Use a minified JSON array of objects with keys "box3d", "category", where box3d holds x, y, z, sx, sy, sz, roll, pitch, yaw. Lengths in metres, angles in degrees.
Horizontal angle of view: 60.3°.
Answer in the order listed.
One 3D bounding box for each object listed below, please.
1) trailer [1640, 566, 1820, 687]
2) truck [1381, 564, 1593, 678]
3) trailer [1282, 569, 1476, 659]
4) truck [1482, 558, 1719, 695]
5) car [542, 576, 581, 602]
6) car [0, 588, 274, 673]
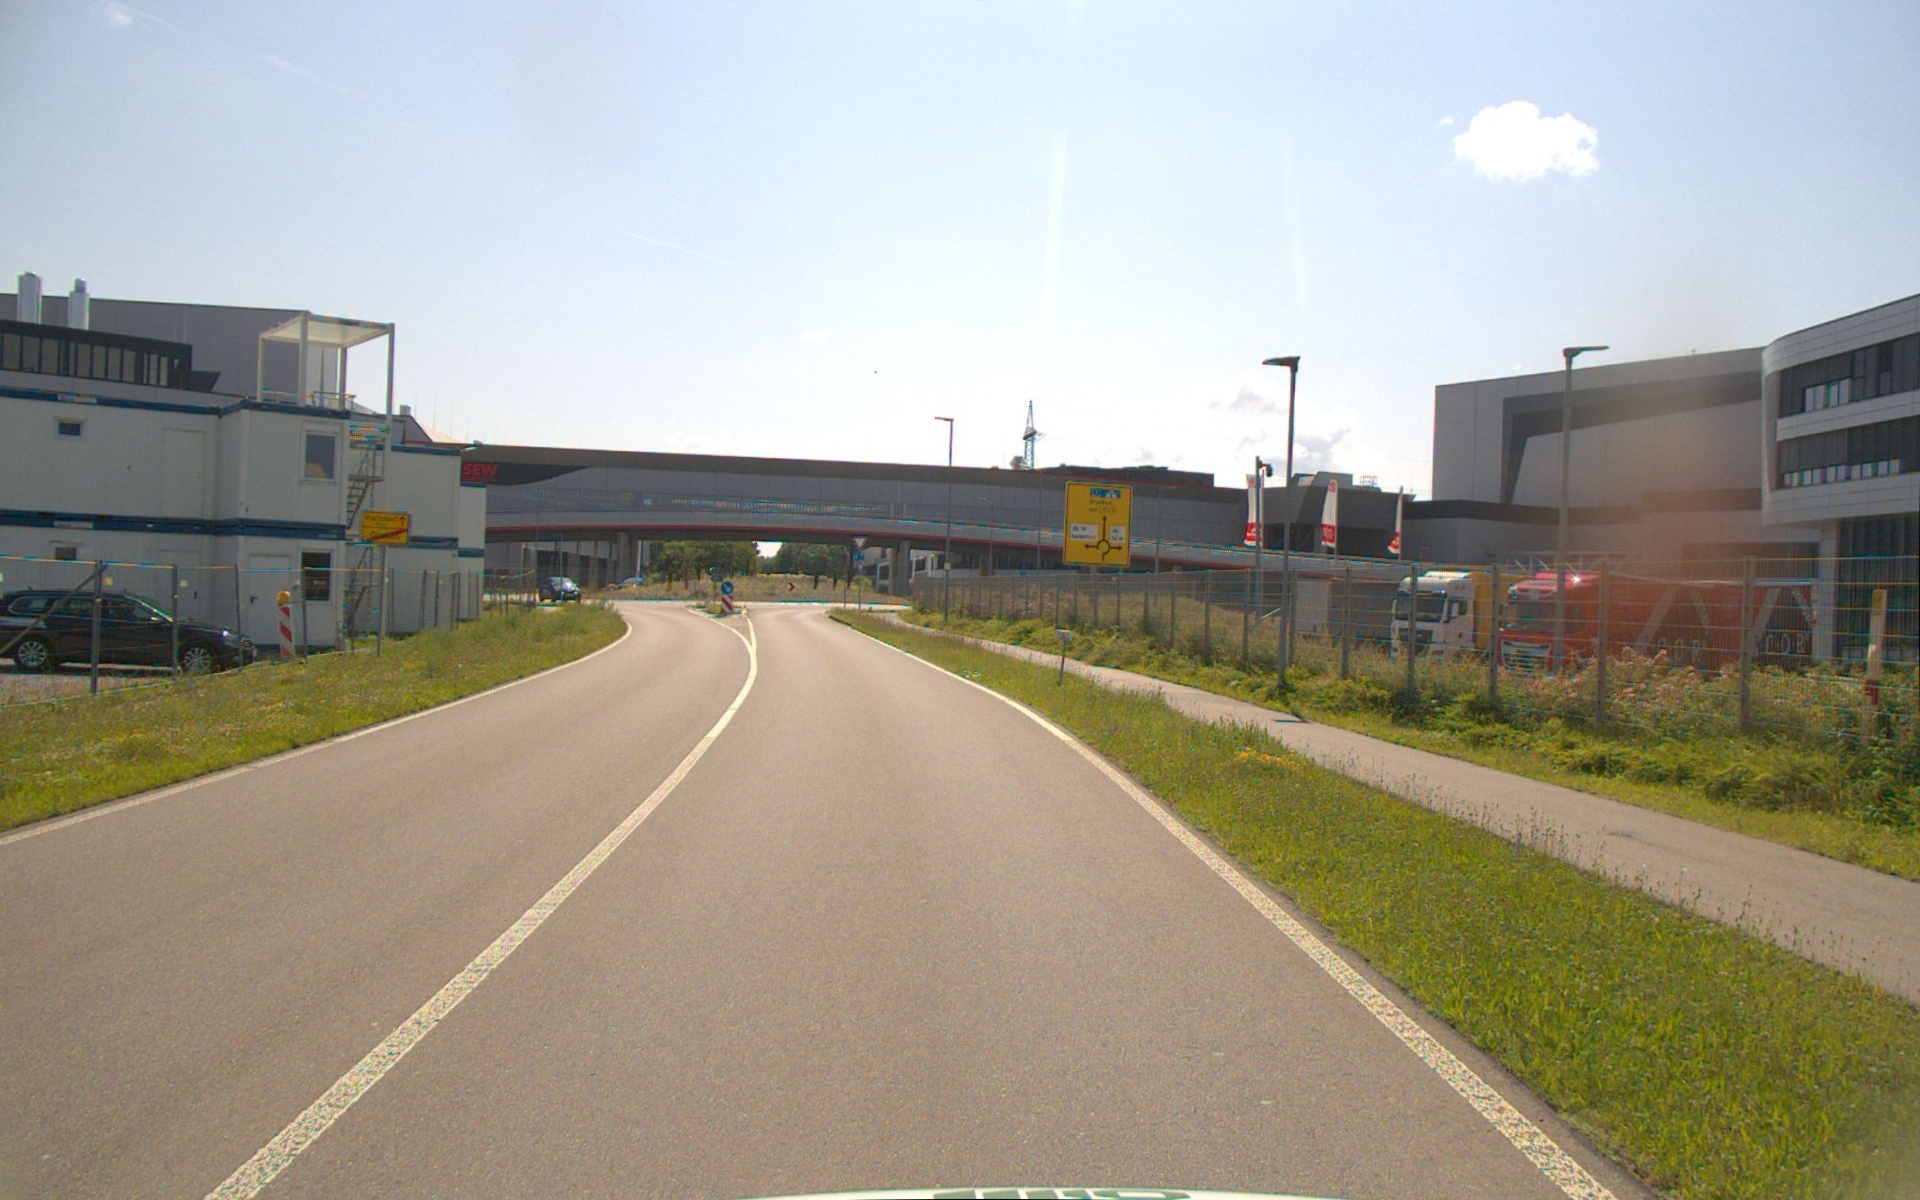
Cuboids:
[{"box3d":[29.737,0.975,63.691,8.634,4.371,2.985,1,0,-40],"category":"trailer"},{"box3d":[21.311,0.829,66.421,10.871,4.245,2.782,1,0,-40],"category":"truck"},{"box3d":[22.758,0.756,89.041,13.937,4.515,2.725,1,0,-41],"category":"trailer"},{"box3d":[22.379,0.878,57.337,10.874,4.331,2.984,1,0,-41],"category":"truck"},{"box3d":[-23.769,-0.628,98.625,1.679,1.508,3.973,1,0,-22],"category":"car"},{"box3d":[-15.779,0.573,31.334,4.890,1.441,1.991,2,1,-17],"category":"car"}]
